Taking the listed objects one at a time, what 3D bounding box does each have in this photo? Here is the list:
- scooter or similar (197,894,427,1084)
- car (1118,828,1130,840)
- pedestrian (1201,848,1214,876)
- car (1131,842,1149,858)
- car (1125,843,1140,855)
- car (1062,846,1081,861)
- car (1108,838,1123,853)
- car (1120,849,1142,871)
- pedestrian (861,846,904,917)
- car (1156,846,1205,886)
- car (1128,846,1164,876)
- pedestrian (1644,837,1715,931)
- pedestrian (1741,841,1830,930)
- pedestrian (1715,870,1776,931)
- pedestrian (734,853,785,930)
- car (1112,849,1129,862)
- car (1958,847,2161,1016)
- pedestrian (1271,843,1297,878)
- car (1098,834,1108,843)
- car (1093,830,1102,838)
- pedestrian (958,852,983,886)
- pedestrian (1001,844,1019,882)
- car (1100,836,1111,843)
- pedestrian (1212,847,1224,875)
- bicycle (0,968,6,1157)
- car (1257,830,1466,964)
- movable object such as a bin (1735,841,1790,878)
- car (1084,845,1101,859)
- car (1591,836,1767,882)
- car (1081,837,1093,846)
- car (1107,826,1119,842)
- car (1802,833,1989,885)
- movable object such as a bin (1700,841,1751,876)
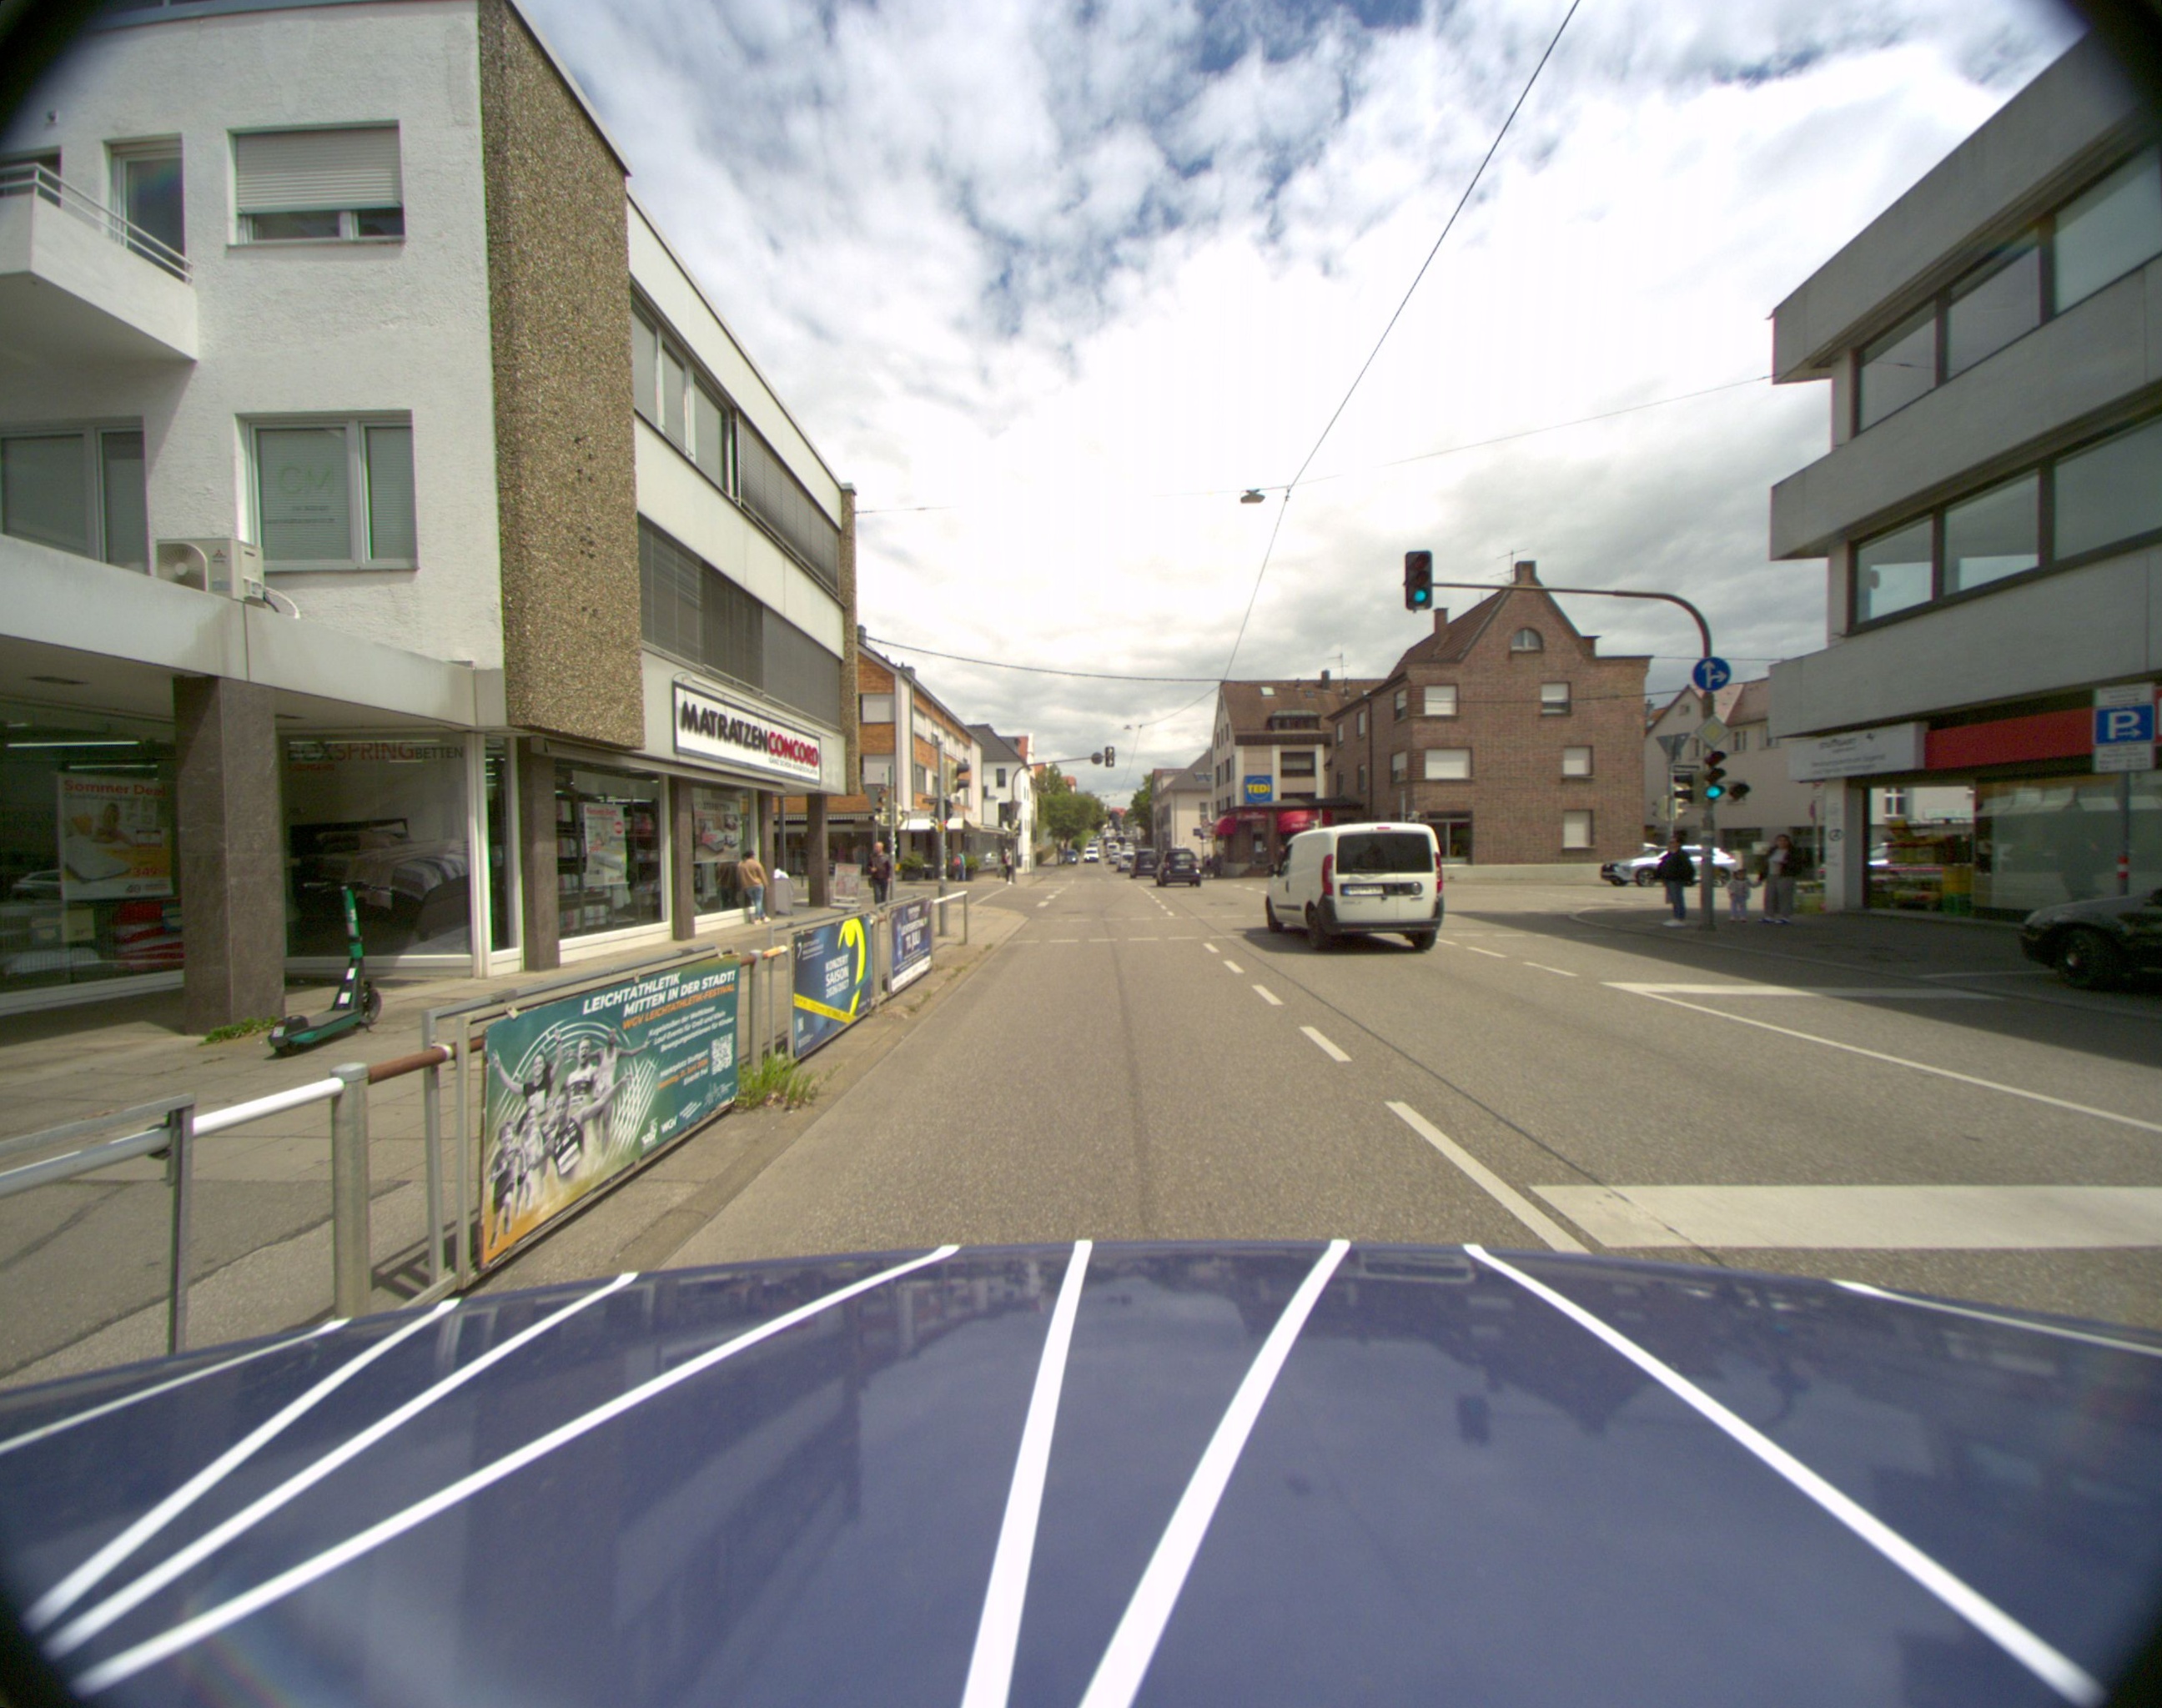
[{"bbox_3d":[-5.967,0.986,5.994,0.690,1.260,1.184,-1,1,-11],"label":"scooter or similar"},{"bbox_3d":[8.607,-3.992,151.722,2.110,2.109,4.765,-1,1,1],"label":"car"},{"bbox_3d":[7.849,0.497,47.260,0.778,1.685,0.796,0,1,7],"label":"pedestrian"},{"bbox_3d":[7.773,-0.552,100.716,2.110,2.109,4.765,-1,1,1],"label":"car"},{"bbox_3d":[8.001,-0.735,118.727,2.110,1.778,4.529,-1,1,1],"label":"car"},{"bbox_3d":[-1.089,-0.095,89.770,1.998,1.654,4.000,0,1,1],"label":"car"},{"bbox_3d":[4.888,-1.200,108.047,1.982,1.985,5.027,0,0,0],"label":"car"},{"bbox_3d":[4.536,0.486,68.968,1.819,1.919,4.112,0,1,2],"label":"car"},{"bbox_3d":[-4.757,0.646,18.268,0.797,1.661,0.807,0,1,1],"label":"pedestrian"},{"bbox_3d":[4.232,0.480,32.658,1.681,1.626,2.833,0,1,0],"label":"car"},{"bbox_3d":[4.163,0.413,49.412,1.953,1.866,4.876,0,1,0],"label":"car"},{"bbox_3d":[10.812,0.534,13.744,0.719,1.635,0.682,-2,1,6],"label":"pedestrian"},{"bbox_3d":[12.732,0.550,13.758,0.820,1.546,0.846,-2,1,7],"label":"pedestrian"},{"bbox_3d":[12.158,0.838,13.918,0.560,1.051,0.662,-2,1,7],"label":"pedestrian"},{"bbox_3d":[-6.410,0.726,15.193,0.681,1.490,0.720,0,1,1],"label":"pedestrian"},{"bbox_3d":[4.615,0.118,90.055,1.757,1.479,3.970,0,0,0],"label":"car"},{"bbox_3d":[10.751,0.701,6.332,2.049,1.467,4.286,-2,0,3],"label":"car"},{"bbox_3d":[9.914,0.302,37.103,0.908,1.713,0.849,-1,1,-40],"label":"pedestrian"},{"bbox_3d":[4.666,-3.215,159.531,1.858,1.957,4.192,0,1,0],"label":"car"},{"bbox_3d":[3.693,-4.503,174.013,1.998,1.654,4.000,0,1,1],"label":"car"},{"bbox_3d":[-5.145,0.689,35.426,0.821,1.517,0.777,-1,1,-42],"label":"pedestrian"},{"bbox_3d":[-3.414,0.408,36.671,0.581,1.820,0.882,1,1,18],"label":"pedestrian"},{"bbox_3d":[4.708,-2.774,146.893,1.858,1.414,4.192,0,0,0],"label":"car"},{"bbox_3d":[8.496,0.431,47.180,0.683,1.706,0.878,0,1,7],"label":"pedestrian"},{"bbox_3d":[-5.975,1.134,3.279,0.476,1.022,1.635,0,1,-8],"label":"bicycle"},{"bbox_3d":[4.319,0.573,12.504,1.950,1.810,4.278,0,0,1],"label":"car"},{"bbox_3d":[31.875,0.243,35.551,1.519,1.615,1.145,-2,1,5],"label":"movable object such as a bin"},{"bbox_3d":[1.453,-0.273,95.241,1.999,1.797,4.764,0,0,0],"label":"car"},{"bbox_3d":[23.638,0.210,30.204,5.254,1.758,2.001,0,0,4],"label":"car"},{"bbox_3d":[1.134,-2.254,141.683,1.998,1.654,4.000,0,1,1],"label":"car"},{"bbox_3d":[7.369,-4.610,176.012,2.428,3.409,7.636,0,0,0],"label":"car"},{"bbox_3d":[28.525,0.169,26.745,4.347,1.744,2.000,0,1,2],"label":"car"},{"bbox_3d":[31.855,0.212,37.586,1.519,1.615,1.145,-2,1,5],"label":"movable object such as a bin"}]
